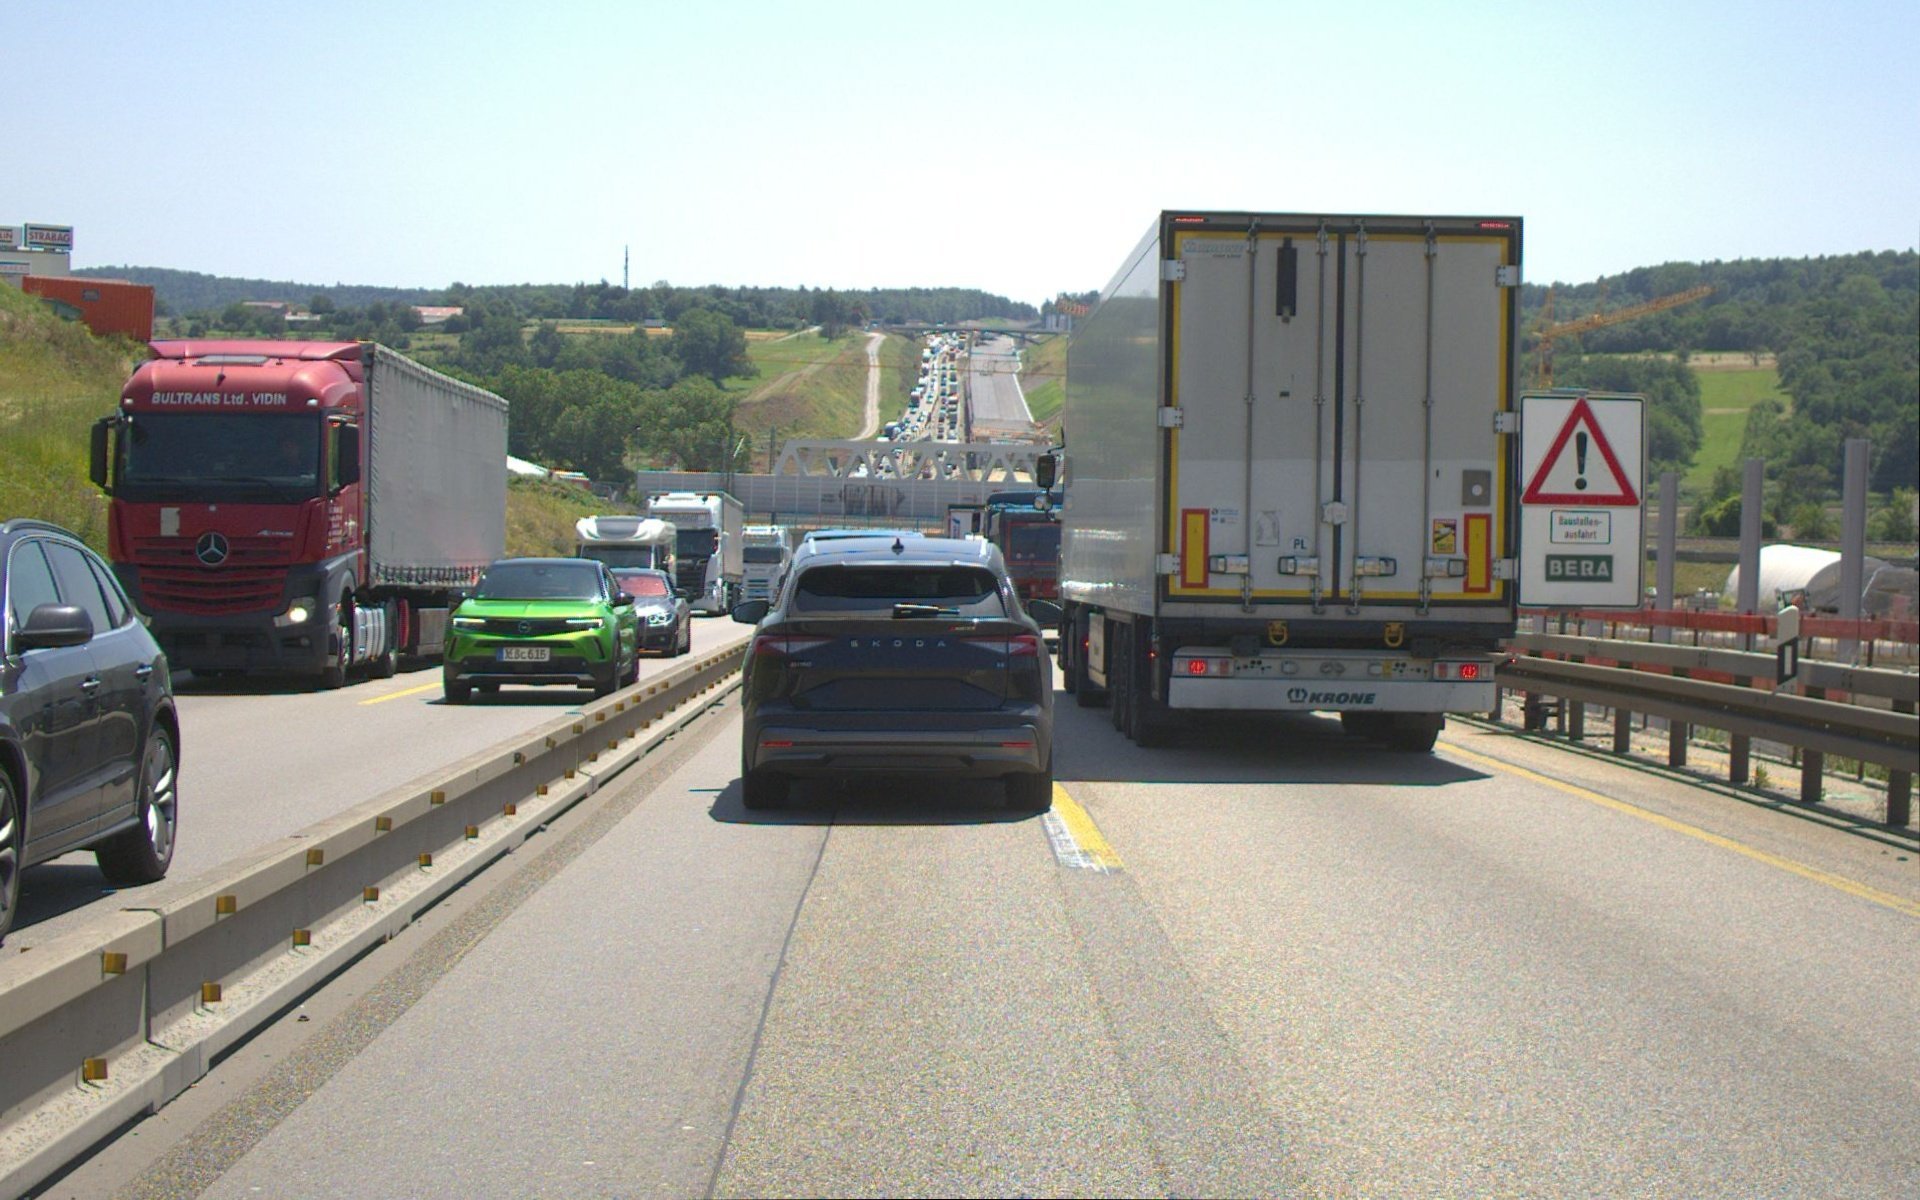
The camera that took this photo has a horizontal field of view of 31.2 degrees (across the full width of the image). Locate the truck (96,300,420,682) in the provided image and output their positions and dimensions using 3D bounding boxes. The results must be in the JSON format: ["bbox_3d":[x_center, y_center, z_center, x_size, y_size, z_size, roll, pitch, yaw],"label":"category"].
[{"bbox_3d":[-7.979,-1.213,39.630,2.821,4.110,4.599,1,1,-1],"label":"truck"}]

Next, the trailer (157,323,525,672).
[{"bbox_3d":[-8.196,-1.308,47.518,2.856,4.110,13.438,1,1,-1],"label":"trailer"}]

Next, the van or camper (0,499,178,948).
[{"bbox_3d":[-4.474,0.432,13.759,1.828,1.662,3.888,1,1,-1],"label":"van or camper"}]

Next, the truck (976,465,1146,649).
[{"bbox_3d":[1.756,-0.741,65.077,2.814,3.124,12.837,0,0,0],"label":"truck"}]

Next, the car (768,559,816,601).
[{"bbox_3d":[-6.171,-0.739,126.460,1.628,1.474,3.380,1,1,-1],"label":"car"}]

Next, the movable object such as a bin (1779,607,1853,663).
[{"bbox_3d":[35.153,1.430,141.317,1.993,2.231,4.152,1,0,0],"label":"movable object such as a bin"}]

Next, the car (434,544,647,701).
[{"bbox_3d":[-4.389,0.198,36.483,1.754,1.503,4.000,2,1,-1],"label":"car"}]

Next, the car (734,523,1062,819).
[{"bbox_3d":[-0.363,0.375,20.854,1.800,1.615,3.298,1,1,-1],"label":"car"}]

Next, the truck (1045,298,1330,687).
[{"bbox_3d":[2.437,-1.118,38.410,2.776,4.045,4.904,0,0,-1],"label":"truck"}]

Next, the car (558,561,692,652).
[{"bbox_3d":[-5.277,0.078,54.591,1.767,1.358,4.411,1,1,-1],"label":"car"}]

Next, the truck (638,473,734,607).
[{"bbox_3d":[-8.940,-1.951,112.569,2.774,4.272,4.677,1,0,-1],"label":"truck"}]

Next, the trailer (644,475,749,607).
[{"bbox_3d":[-9.097,-2.012,120.017,2.810,4.272,14.036,1,1,-1],"label":"trailer"}]

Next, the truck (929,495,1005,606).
[{"bbox_3d":[0.231,-1.842,128.697,2.517,3.946,7.600,2,1,-1],"label":"truck"}]

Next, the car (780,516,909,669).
[{"bbox_3d":[-1.389,-0.111,42.332,1.475,1.789,3.298,1,1,-1],"label":"car"}]

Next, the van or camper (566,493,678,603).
[{"bbox_3d":[-8.876,-1.371,90.833,2.334,2.768,7.517,1,1,-1],"label":"van or camper"}]

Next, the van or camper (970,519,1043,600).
[{"bbox_3d":[1.329,-1.168,99.782,1.993,2.237,4.000,2,1,0],"label":"van or camper"}]

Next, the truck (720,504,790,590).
[{"bbox_3d":[-10.067,-2.574,168.970,3.239,4.146,4.247,0,0,-1],"label":"truck"}]

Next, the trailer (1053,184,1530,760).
[{"bbox_3d":[2.534,-0.896,31.346,2.801,4.044,14.117,0,0,-1],"label":"trailer"}]
